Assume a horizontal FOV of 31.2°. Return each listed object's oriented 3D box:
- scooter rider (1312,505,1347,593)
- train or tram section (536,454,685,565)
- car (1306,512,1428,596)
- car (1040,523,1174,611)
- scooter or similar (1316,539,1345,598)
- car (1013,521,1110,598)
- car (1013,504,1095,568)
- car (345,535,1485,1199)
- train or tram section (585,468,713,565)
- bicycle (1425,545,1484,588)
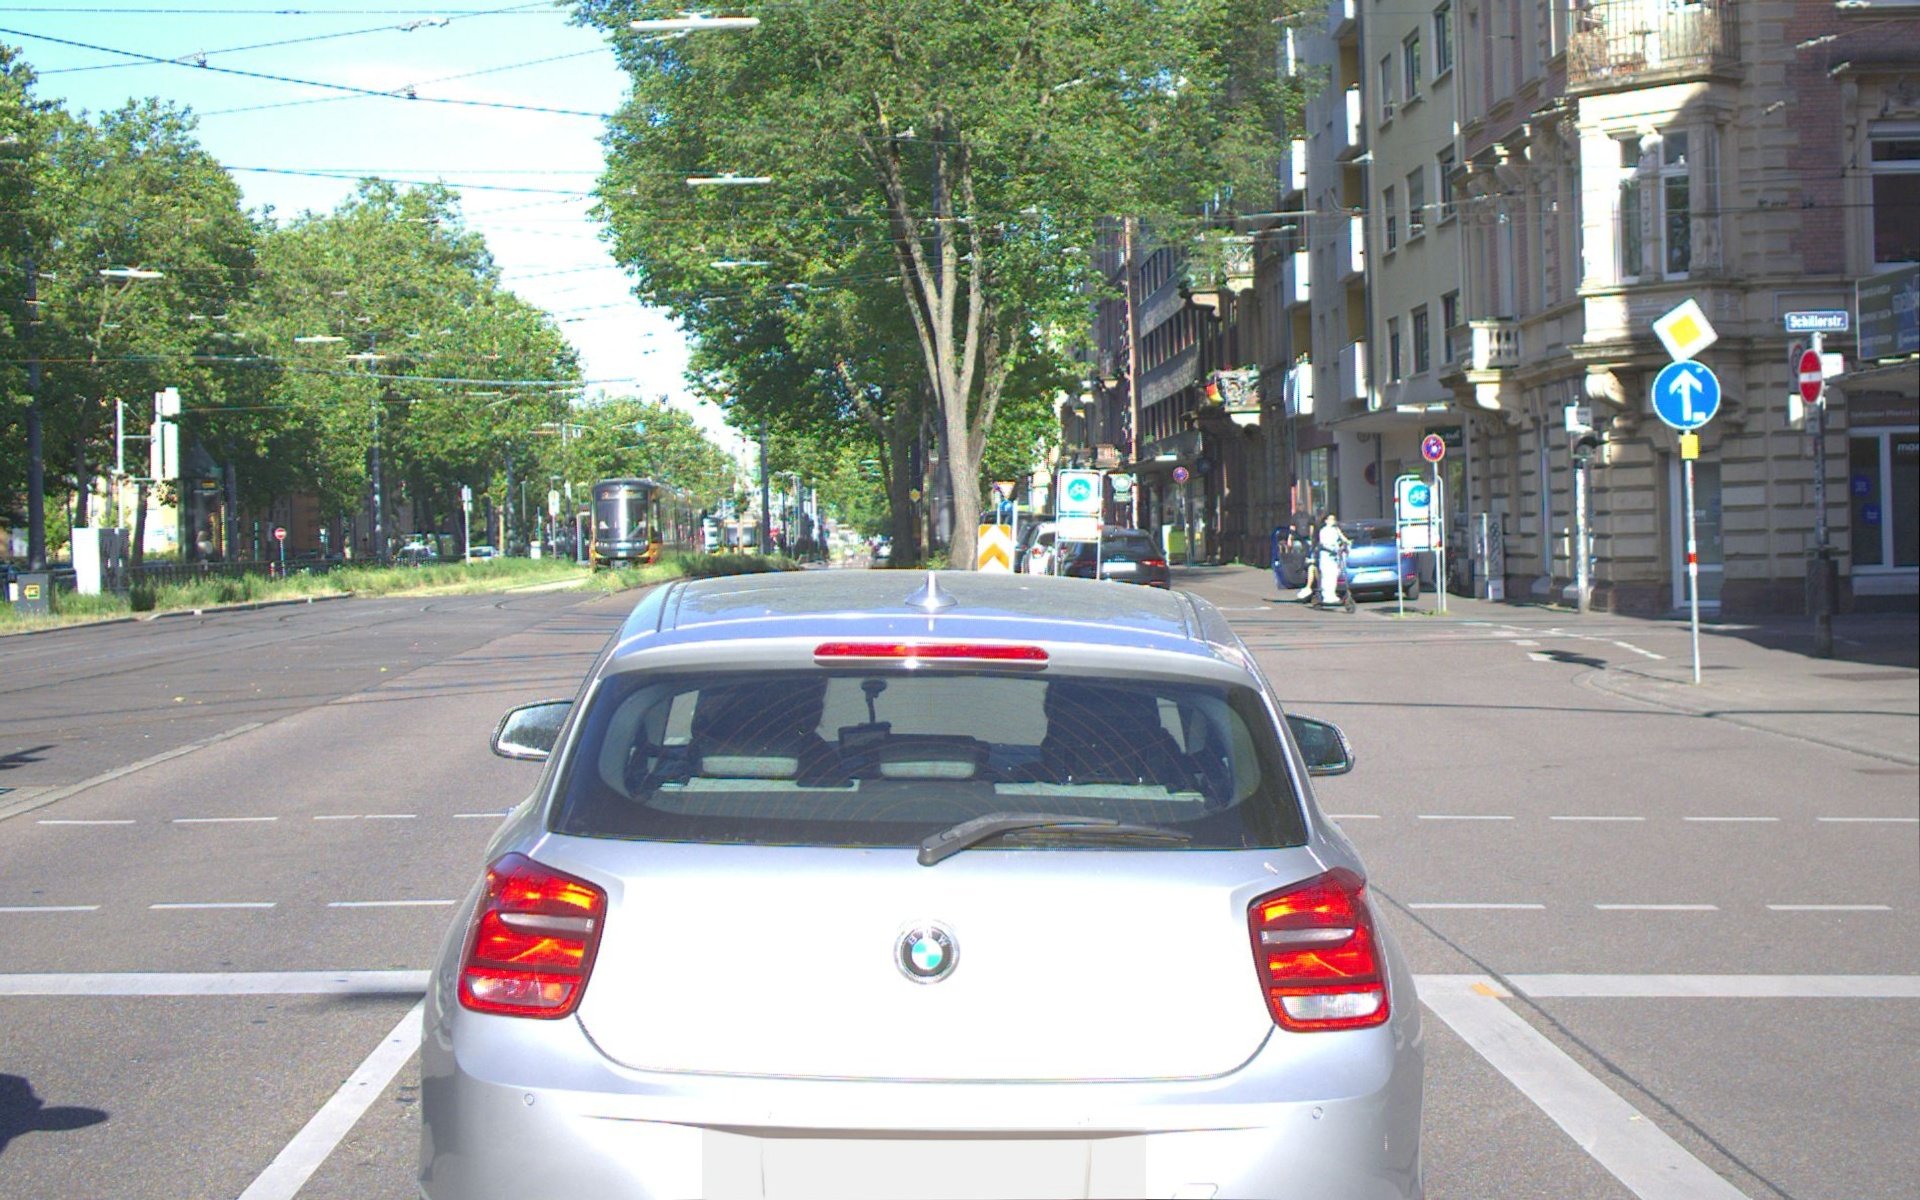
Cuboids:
[{"bbox_3d":[6.369,-0.883,59.307,0.465,1.500,0.811,-1,1,-2],"label":"scooter rider"},{"bbox_3d":[-12.987,-3.390,129.683,3.969,3.852,17.490,-1,1,-1],"label":"train or tram section"},{"bbox_3d":[7.520,-0.870,63.773,1.735,1.514,3.637,0,1,-1],"label":"car"},{"bbox_3d":[2.439,-0.582,57.797,1.735,1.428,3.679,0,1,-6],"label":"car"},{"bbox_3d":[6.397,-0.545,59.391,0.337,0.984,1.284,-1,1,-1],"label":"scooter or similar"},{"bbox_3d":[2.027,-0.834,69.342,1.724,1.501,3.555,0,1,-2],"label":"car"},{"bbox_3d":[2.214,-1.534,81.865,1.724,1.501,3.555,0,1,-2],"label":"car"},{"bbox_3d":[-0.098,0.613,7.281,1.740,1.462,4.000,1,1,-1],"label":"car"},{"bbox_3d":[-13.155,-3.584,147.152,4.005,3.852,17.490,-1,1,-1],"label":"train or tram section"},{"bbox_3d":[9.214,-0.624,64.124,0.754,0.768,1.945,-1,1,-2],"label":"bicycle"}]
